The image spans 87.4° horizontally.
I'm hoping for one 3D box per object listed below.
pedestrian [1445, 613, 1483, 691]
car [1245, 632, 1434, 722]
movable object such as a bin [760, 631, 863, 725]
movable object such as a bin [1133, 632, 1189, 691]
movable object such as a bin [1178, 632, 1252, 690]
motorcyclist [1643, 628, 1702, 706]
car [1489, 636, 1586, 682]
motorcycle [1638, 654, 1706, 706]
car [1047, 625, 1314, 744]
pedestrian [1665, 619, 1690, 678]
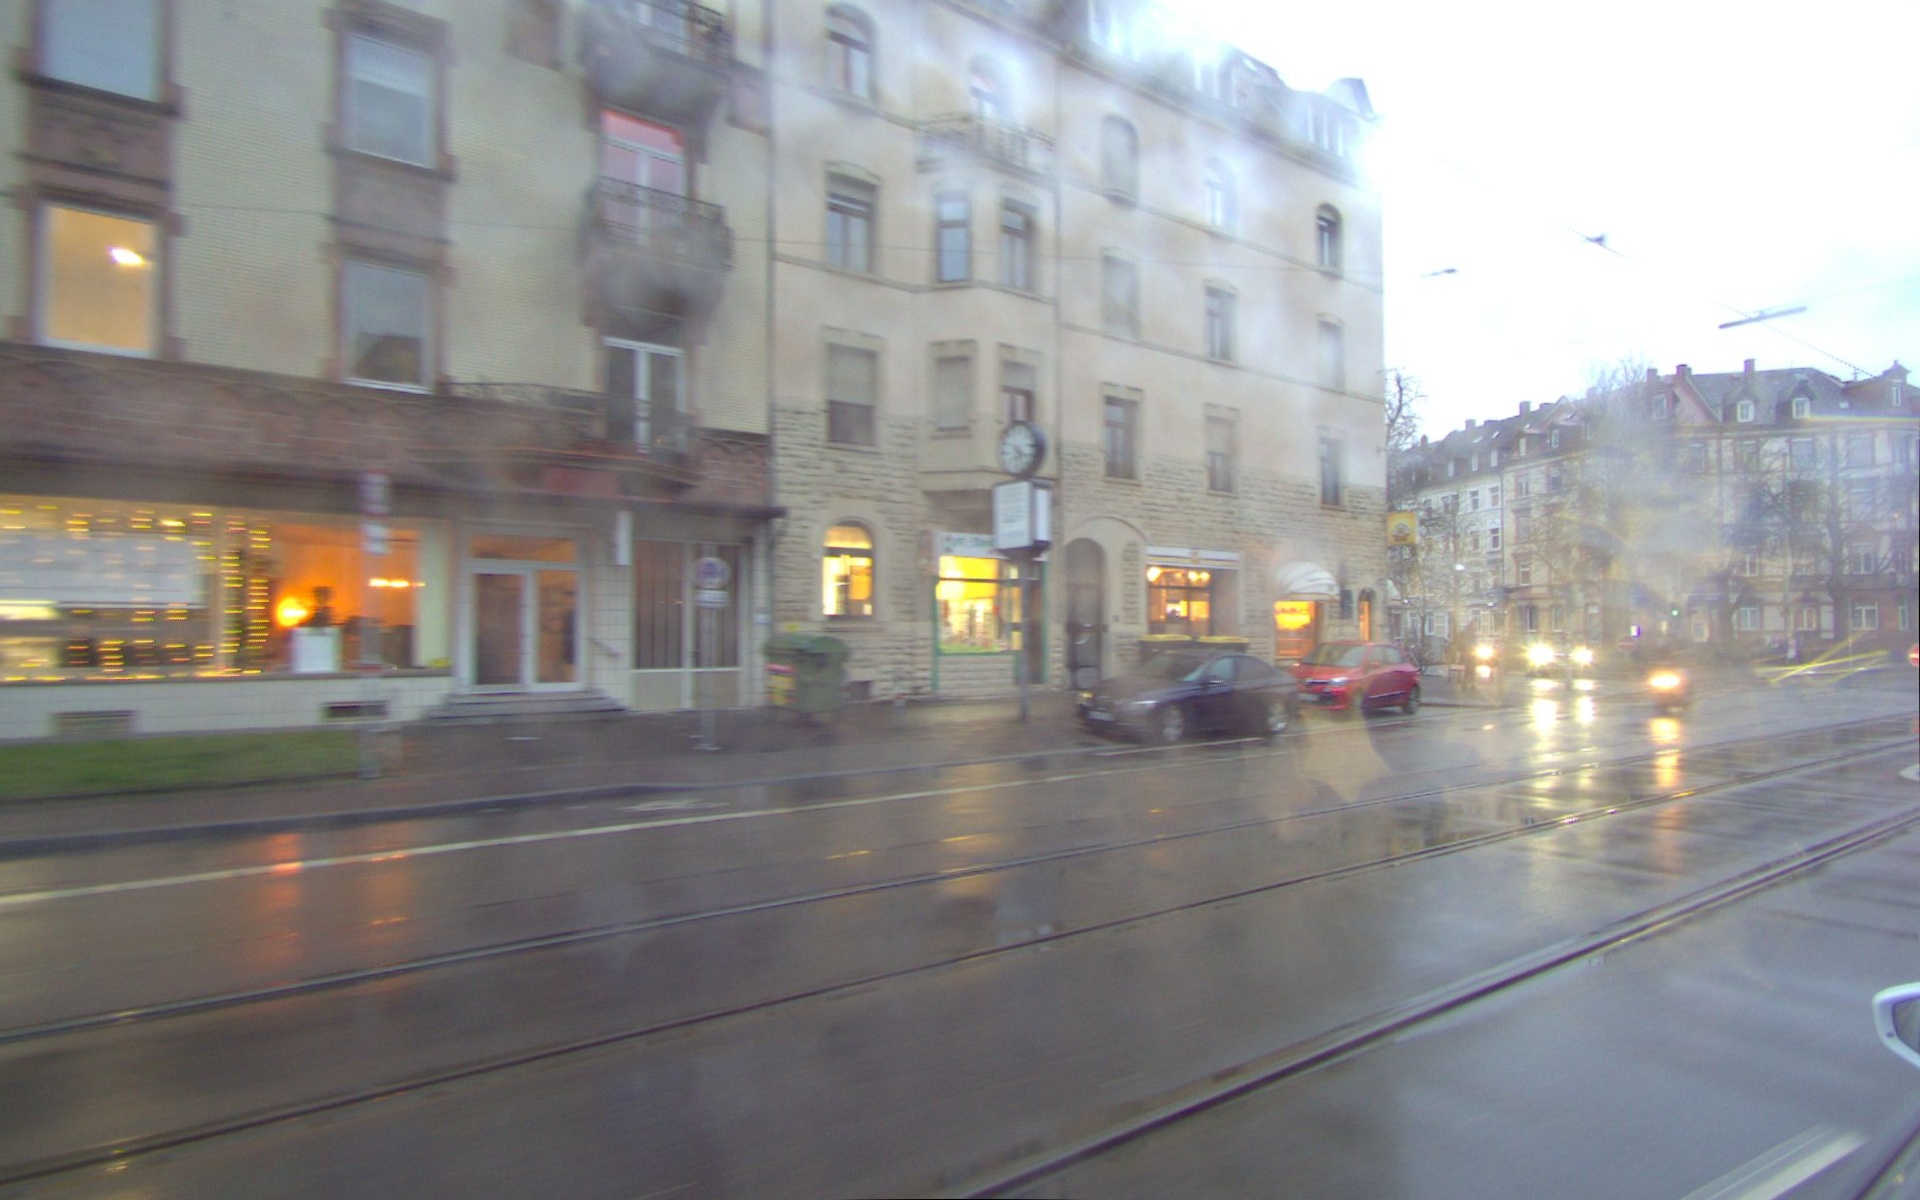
[{"bbox_3d":[13.429,1.381,26.771,0.635,2.040,0.758,1,-1,2],"label":"pedestrian"},{"bbox_3d":[8.068,1.533,21.233,3.998,1.572,2.020,1,2,-40],"label":"car"},{"bbox_3d":[-2.426,1.229,16.342,1.237,1.439,1.260,1,-2,-34],"label":"movable object such as a bin"},{"bbox_3d":[4.901,1.476,24.505,0.996,1.395,0.893,1,-2,-34],"label":"movable object such as a bin"},{"bbox_3d":[6.325,1.483,24.911,1.239,1.385,1.286,1,-2,-35],"label":"movable object such as a bin"},{"bbox_3d":[14.917,1.383,21.031,1.008,1.569,0.835,2,-2,-45],"label":"motorcyclist"},{"bbox_3d":[22.937,2.312,40.074,1.981,1.695,4.003,0,-2,8],"label":"car"},{"bbox_3d":[14.920,1.648,21.031,0.847,1.005,1.906,-2,-2,45],"label":"motorcycle"},{"bbox_3d":[3.913,1.379,17.464,4.589,1.667,1.971,2,2,-37],"label":"car"},{"bbox_3d":[25.303,1.702,35.417,0.695,2.040,0.658,-1,-2,36],"label":"pedestrian"}]
